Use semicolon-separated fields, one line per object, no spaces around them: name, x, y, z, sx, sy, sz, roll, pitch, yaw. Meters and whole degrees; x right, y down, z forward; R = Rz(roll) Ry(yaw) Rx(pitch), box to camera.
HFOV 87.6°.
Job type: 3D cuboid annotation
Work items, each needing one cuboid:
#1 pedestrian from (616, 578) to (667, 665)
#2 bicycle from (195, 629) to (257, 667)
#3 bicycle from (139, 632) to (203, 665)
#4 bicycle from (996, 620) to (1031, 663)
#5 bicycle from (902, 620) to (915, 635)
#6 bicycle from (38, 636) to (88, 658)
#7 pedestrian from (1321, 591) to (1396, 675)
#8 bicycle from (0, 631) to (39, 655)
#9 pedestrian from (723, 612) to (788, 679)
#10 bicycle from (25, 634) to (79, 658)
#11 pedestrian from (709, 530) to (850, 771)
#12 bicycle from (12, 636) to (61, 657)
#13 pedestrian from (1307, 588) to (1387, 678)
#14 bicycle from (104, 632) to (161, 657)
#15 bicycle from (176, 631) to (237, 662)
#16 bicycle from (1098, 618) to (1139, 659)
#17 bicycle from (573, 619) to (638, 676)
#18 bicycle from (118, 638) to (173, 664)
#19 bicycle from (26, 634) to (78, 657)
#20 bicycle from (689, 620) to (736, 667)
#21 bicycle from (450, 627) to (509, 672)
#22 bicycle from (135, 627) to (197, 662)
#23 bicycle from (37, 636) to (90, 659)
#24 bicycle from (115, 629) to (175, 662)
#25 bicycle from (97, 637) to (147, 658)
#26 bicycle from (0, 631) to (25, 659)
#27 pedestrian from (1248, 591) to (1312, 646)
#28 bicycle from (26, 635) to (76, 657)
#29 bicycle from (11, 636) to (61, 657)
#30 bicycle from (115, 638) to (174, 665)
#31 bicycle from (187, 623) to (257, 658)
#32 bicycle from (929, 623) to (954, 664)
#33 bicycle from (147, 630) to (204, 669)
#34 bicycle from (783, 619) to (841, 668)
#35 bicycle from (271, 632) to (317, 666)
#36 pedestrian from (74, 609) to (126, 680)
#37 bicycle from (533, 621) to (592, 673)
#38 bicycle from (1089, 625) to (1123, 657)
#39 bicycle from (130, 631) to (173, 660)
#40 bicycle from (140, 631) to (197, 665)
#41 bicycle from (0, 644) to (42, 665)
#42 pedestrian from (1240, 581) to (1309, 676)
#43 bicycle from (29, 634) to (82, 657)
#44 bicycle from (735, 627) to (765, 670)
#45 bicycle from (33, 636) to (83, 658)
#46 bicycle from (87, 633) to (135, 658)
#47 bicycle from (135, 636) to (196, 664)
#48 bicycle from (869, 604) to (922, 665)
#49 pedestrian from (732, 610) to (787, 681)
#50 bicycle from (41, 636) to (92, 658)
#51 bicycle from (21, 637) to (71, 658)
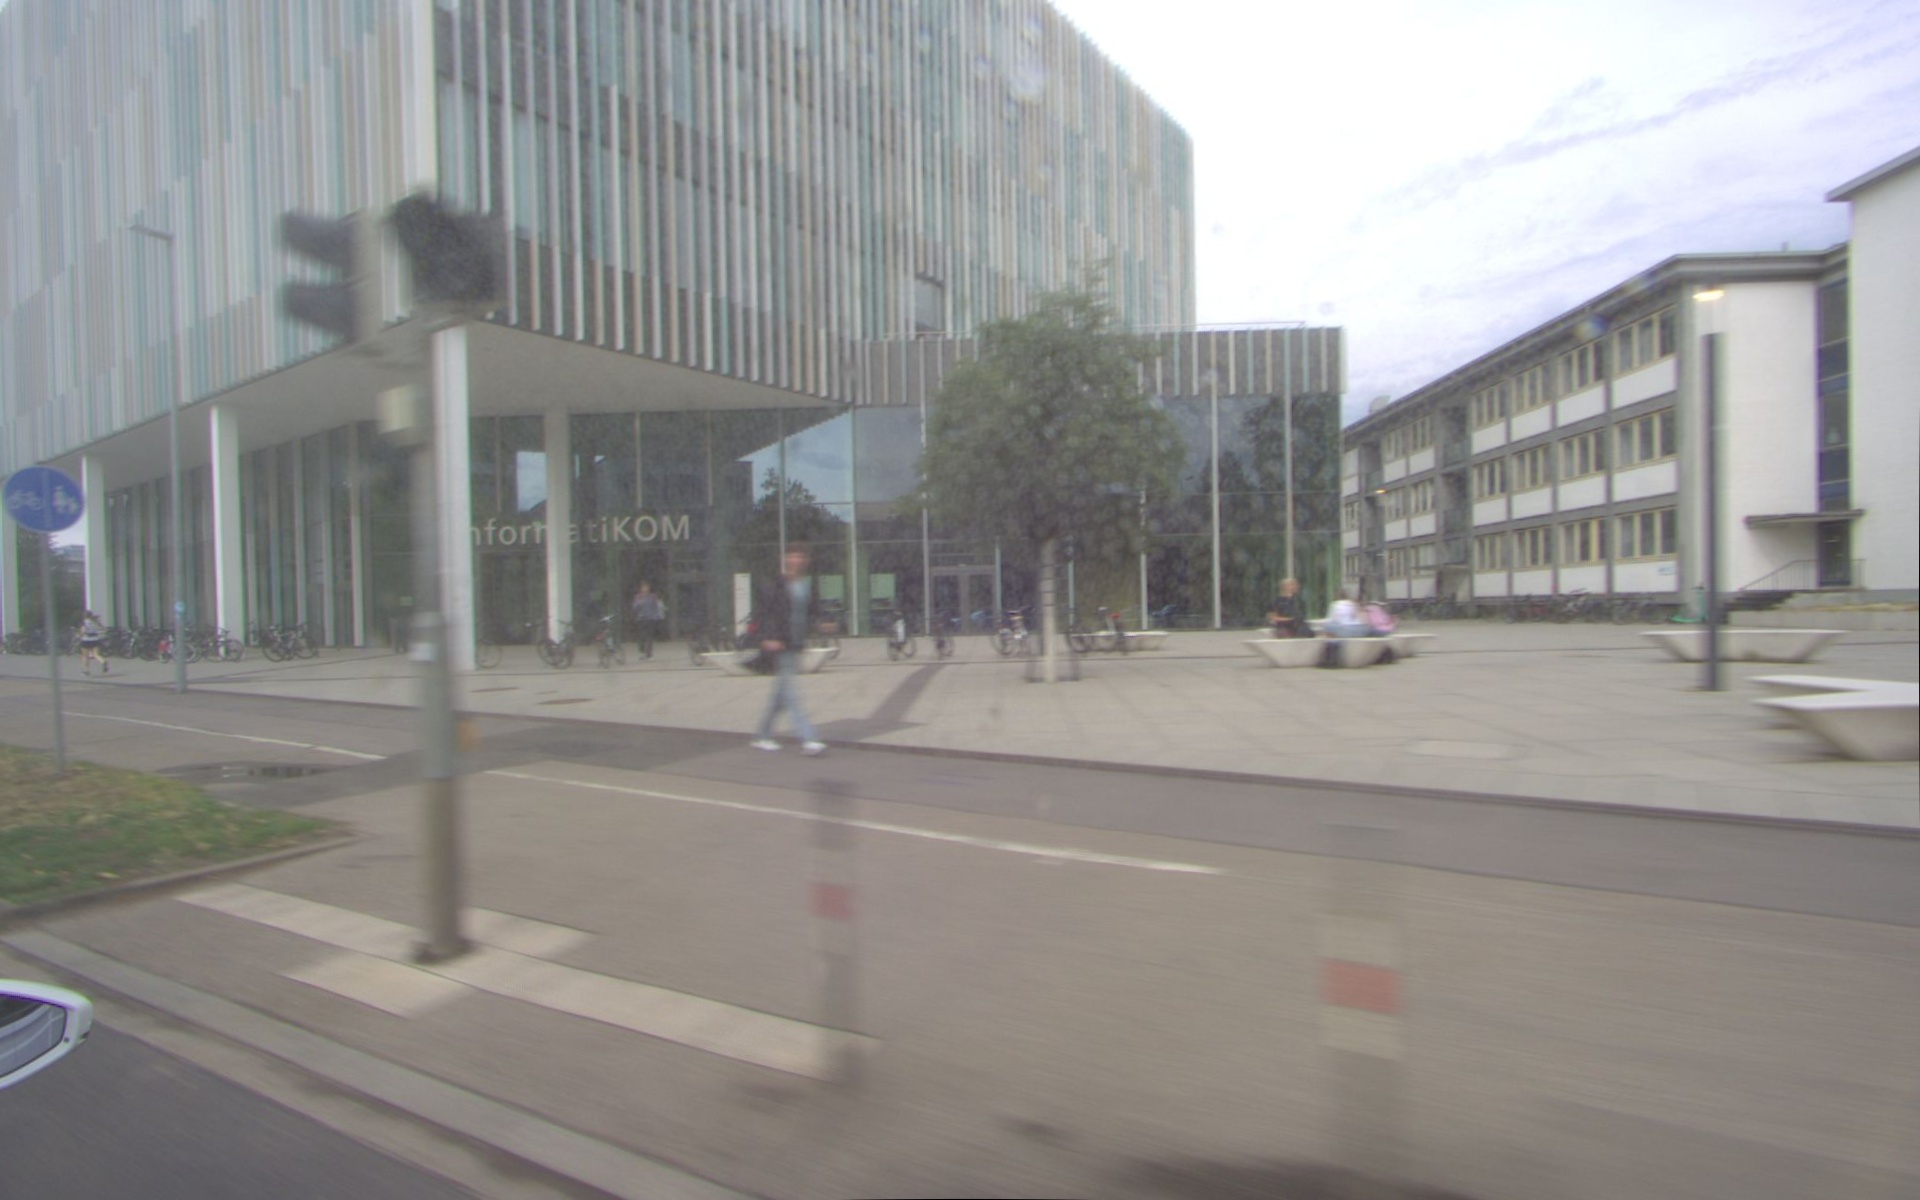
pedestrian;-7.836;0.541;24.662;1.165;2.088;1.133;0;-1;-19
bicycle;-22.354;1.454;30.484;1.931;1.095;0.607;-2;2;25
bicycle;-27.564;1.675;35.004;0.549;0.996;1.600;-1;2;36
bicycle;1.220;0.939;22.933;0.532;0.910;1.356;-1;0;-8
bicycle;-2.338;1.222;45.376;0.424;0.640;1.690;-1;0;-8
bicycle;-40.232;2.092;44.920;0.509;0.896;1.598;-1;0;36
pedestrian;6.315;0.521;15.854;0.868;1.273;0.905;-1;-2;39
bicycle;-45.864;2.088;48.430;0.618;1.096;1.788;-1;2;34
pedestrian;-3.848;0.839;18.837;0.884;1.209;0.838;-2;0;-40
bicycle;-38.643;1.950;42.617;0.549;0.886;1.600;-1;1;36
pedestrian;-1.625;0.435;9.056;0.883;2.040;0.839;-1;0;38
bicycle;-43.319;2.173;46.965;0.549;0.886;1.600;-1;1;36
pedestrian;5.736;0.486;14.847;0.868;1.273;0.905;-1;-2;39
bicycle;-33.174;1.775;40.155;0.511;0.959;1.682;-1;0;42
bicycle;-26.041;1.598;34.614;1.594;0.949;0.563;-4;3;-44
bicycle;3.729;0.886;23.631;0.499;0.910;1.550;-1;0;-8
bicycle;-8.231;1.062;23.403;0.759;1.203;2.719;-1;0;-5
bicycle;-31.357;1.959;38.560;0.362;0.908;1.600;-1;0;36
bicycle;-39.720;1.992;43.830;0.549;0.886;1.600;-1;1;36
bicycle;-5.784;0.997;23.523;0.759;1.015;1.959;-1;0;-6
bicycle;-11.761;1.206;24.492;1.819;1.075;0.635;-2;-2;41
bicycle;-28.660;1.591;36.159;0.566;1.106;1.633;-1;3;44
bicycle;-37.049;1.960;41.405;0.549;0.845;1.527;-1;1;36
bicycle;-30.771;1.703;37.824;0.565;1.117;1.636;-1;2;39
bicycle;-33.772;1.896;40.357;0.549;0.756;1.429;-1;1;36
bicycle;-47.311;2.242;49.418;1.634;1.351;0.459;-4;2;-41
pedestrian;5.143;0.300;16.093;0.629;0.834;0.728;-2;0;-38
bicycle;-38.122;1.927;41.998;0.549;0.850;1.449;-1;1;36
bicycle;-42.881;2.163;46.461;0.549;0.886;1.600;-1;1;36
bicycle;-30.184;1.898;37.068;0.549;0.886;1.600;-1;0;36
bicycle;-27.709;1.502;37.620;1.951;1.160;0.647;-3;2;-13
bicycle;-0.443;0.997;23.379;0.387;0.910;1.472;-1;0;-8
bicycle;-24.867;1.560;31.730;2.170;1.156;0.634;-2;3;32
bicycle;-3.367;0.969;22.976;0.767;1.019;2.191;-1;0;6
bicycle;-20.200;1.474;30.402;0.432;0.942;1.488;0;1;-3
pedestrian;-23.223;1.182;27.041;0.882;1.860;0.840;-1;0;35
bicycle;-9.498;1.098;24.010;0.722;1.130;2.182;-1;0;-7
bicycle;3.465;0.967;23.823;0.481;0.700;1.185;-1;1;-8
bicycle;-31.325;1.752;38.803;0.430;1.064;1.191;-1;1;42
bicycle;-27.247;1.653;34.485;0.552;1.058;1.394;-1;2;36
bicycle;-44.290;2.560;47.086;0.549;0.886;1.600;-1;0;36
pedestrian;4.789;0.438;15.226;0.865;1.384;0.909;-1;-1;26
bicycle;-39.261;1.978;43.481;0.549;0.886;1.600;-1;1;36
bicycle;-4.941;1.114;23.530;0.659;0.910;1.844;-2;0;-12
bicycle;-40.979;2.132;45.500;0.549;0.886;1.600;-1;1;36
bicycle;-32.804;1.755;38.692;0.549;0.886;1.278;-1;1;36
bicycle;-28.039;1.762;35.354;0.549;0.886;1.600;-1;0;36
bicycle;-1.489;0.778;23.397;0.633;1.324;2.005;0;2;14
pedestrian;-3.636;0.803;18.123;0.831;1.222;0.892;-1;0;-20
bicycle;-39.779;2.072;44.591;0.549;0.886;1.600;-1;1;36
bicycle;-42.028;2.171;46.052;0.549;0.886;1.600;-1;1;36
